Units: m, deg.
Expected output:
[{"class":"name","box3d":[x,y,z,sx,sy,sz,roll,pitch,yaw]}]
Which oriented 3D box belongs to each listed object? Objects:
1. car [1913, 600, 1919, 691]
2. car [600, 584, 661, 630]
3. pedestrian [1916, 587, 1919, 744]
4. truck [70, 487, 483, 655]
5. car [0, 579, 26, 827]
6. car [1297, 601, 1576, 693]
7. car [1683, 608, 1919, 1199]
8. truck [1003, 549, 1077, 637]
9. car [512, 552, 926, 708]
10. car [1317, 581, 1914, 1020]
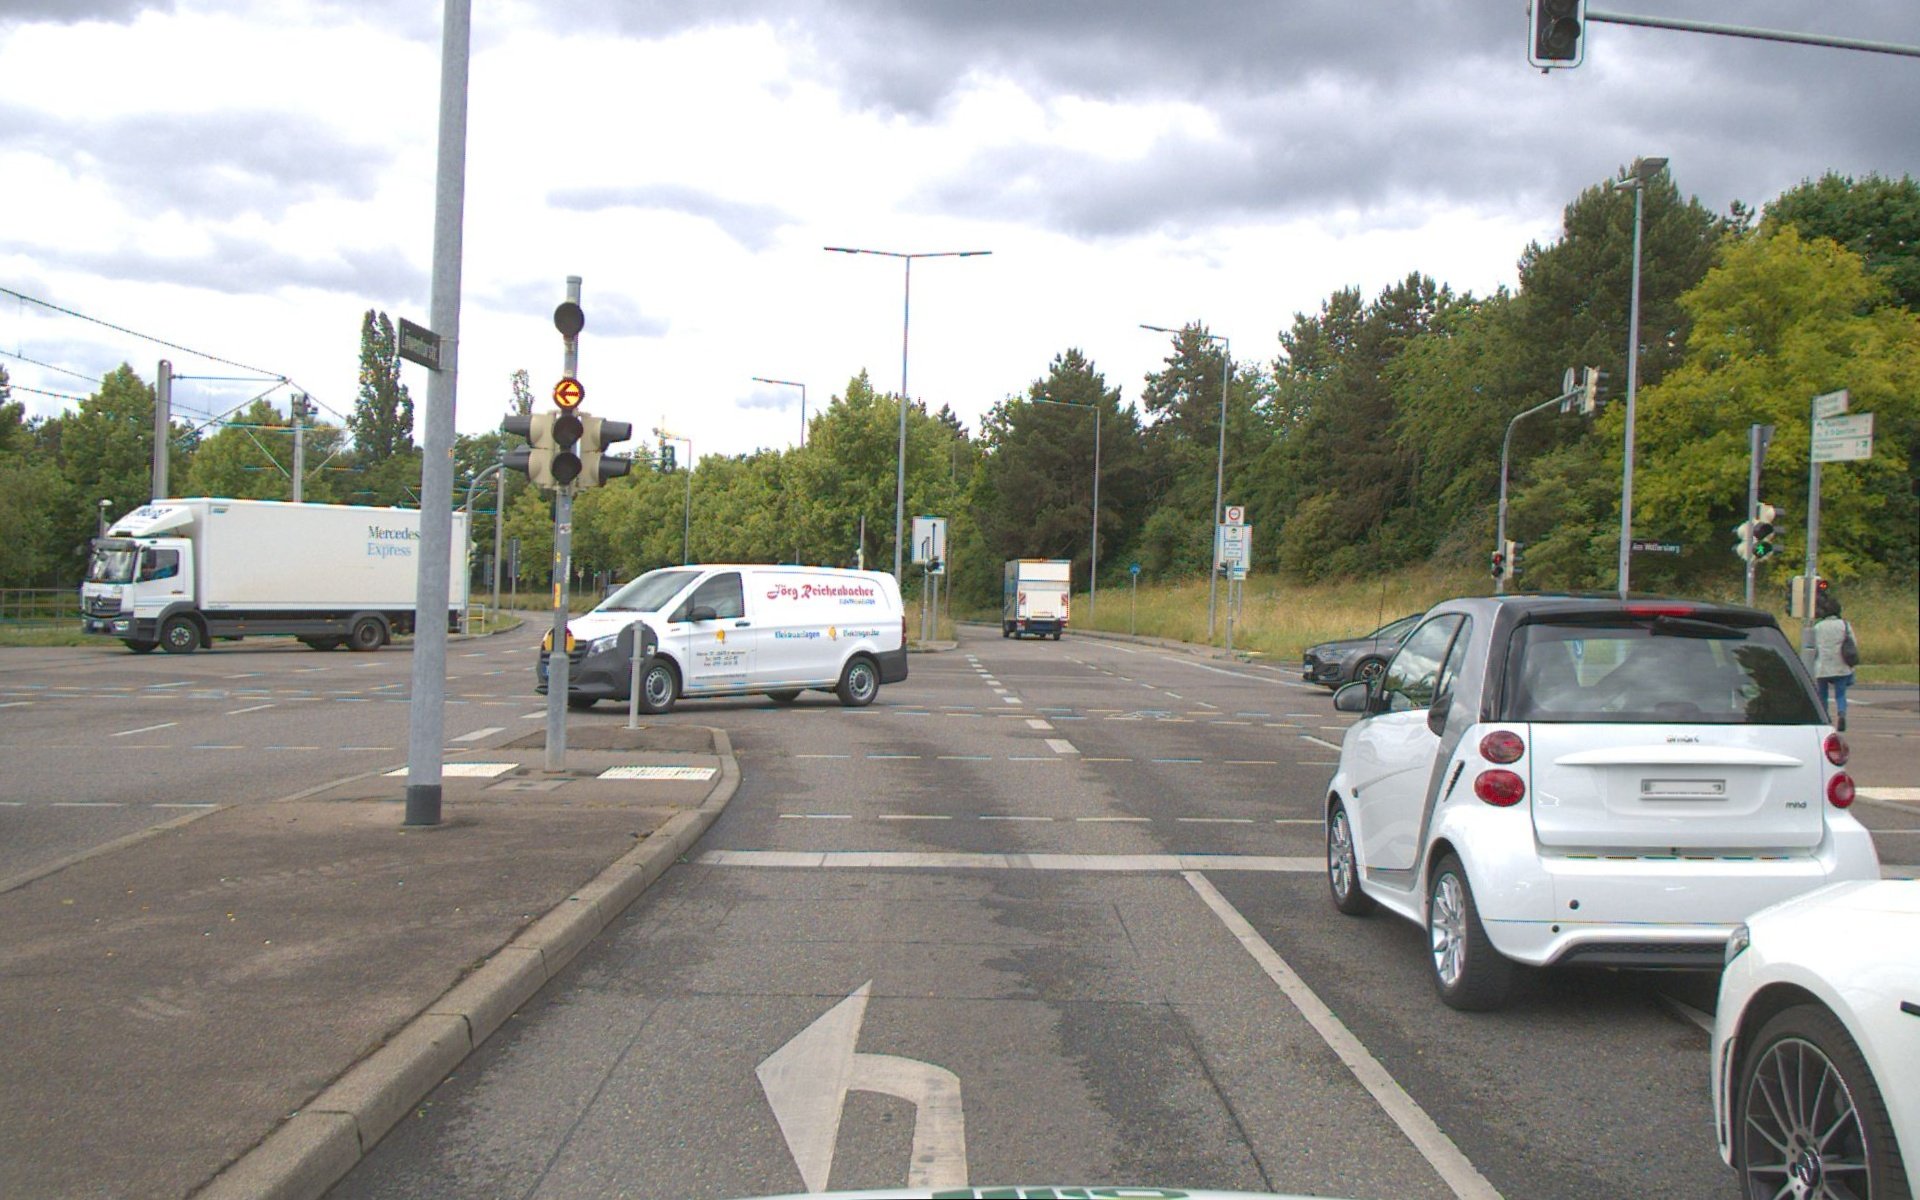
[{"class":"car","box3d":[19.140,0.847,28.881,3.904,1.629,1.838,1,0,2]},{"class":"car","box3d":[-13.237,0.247,66.569,1.878,1.758,3.998,0,1,-4]},{"class":"pedestrian","box3d":[10.462,0.698,17.297,0.598,1.662,0.614,1,0,8]},{"class":"truck","box3d":[-16.631,-0.589,41.157,2.616,3.713,9.462,1,0,37]},{"class":"car","box3d":[-6.803,0.620,8.465,1.599,1.506,3.780,0,0,6]},{"class":"car","box3d":[8.268,0.788,29.028,4.396,1.487,2.001,1,0,5]},{"class":"car","box3d":[2.659,0.763,1.936,1.686,1.446,4.356,1,0,-1]},{"class":"truck","box3d":[3.439,-0.302,72.788,2.629,3.661,7.261,0,0,-2]},{"class":"car","box3d":[-3.082,0.434,22.186,5.395,1.847,1.967,2,-2,-44]},{"class":"car","box3d":[2.595,0.705,7.152,1.504,1.530,2.670,1,0,-1]}]
